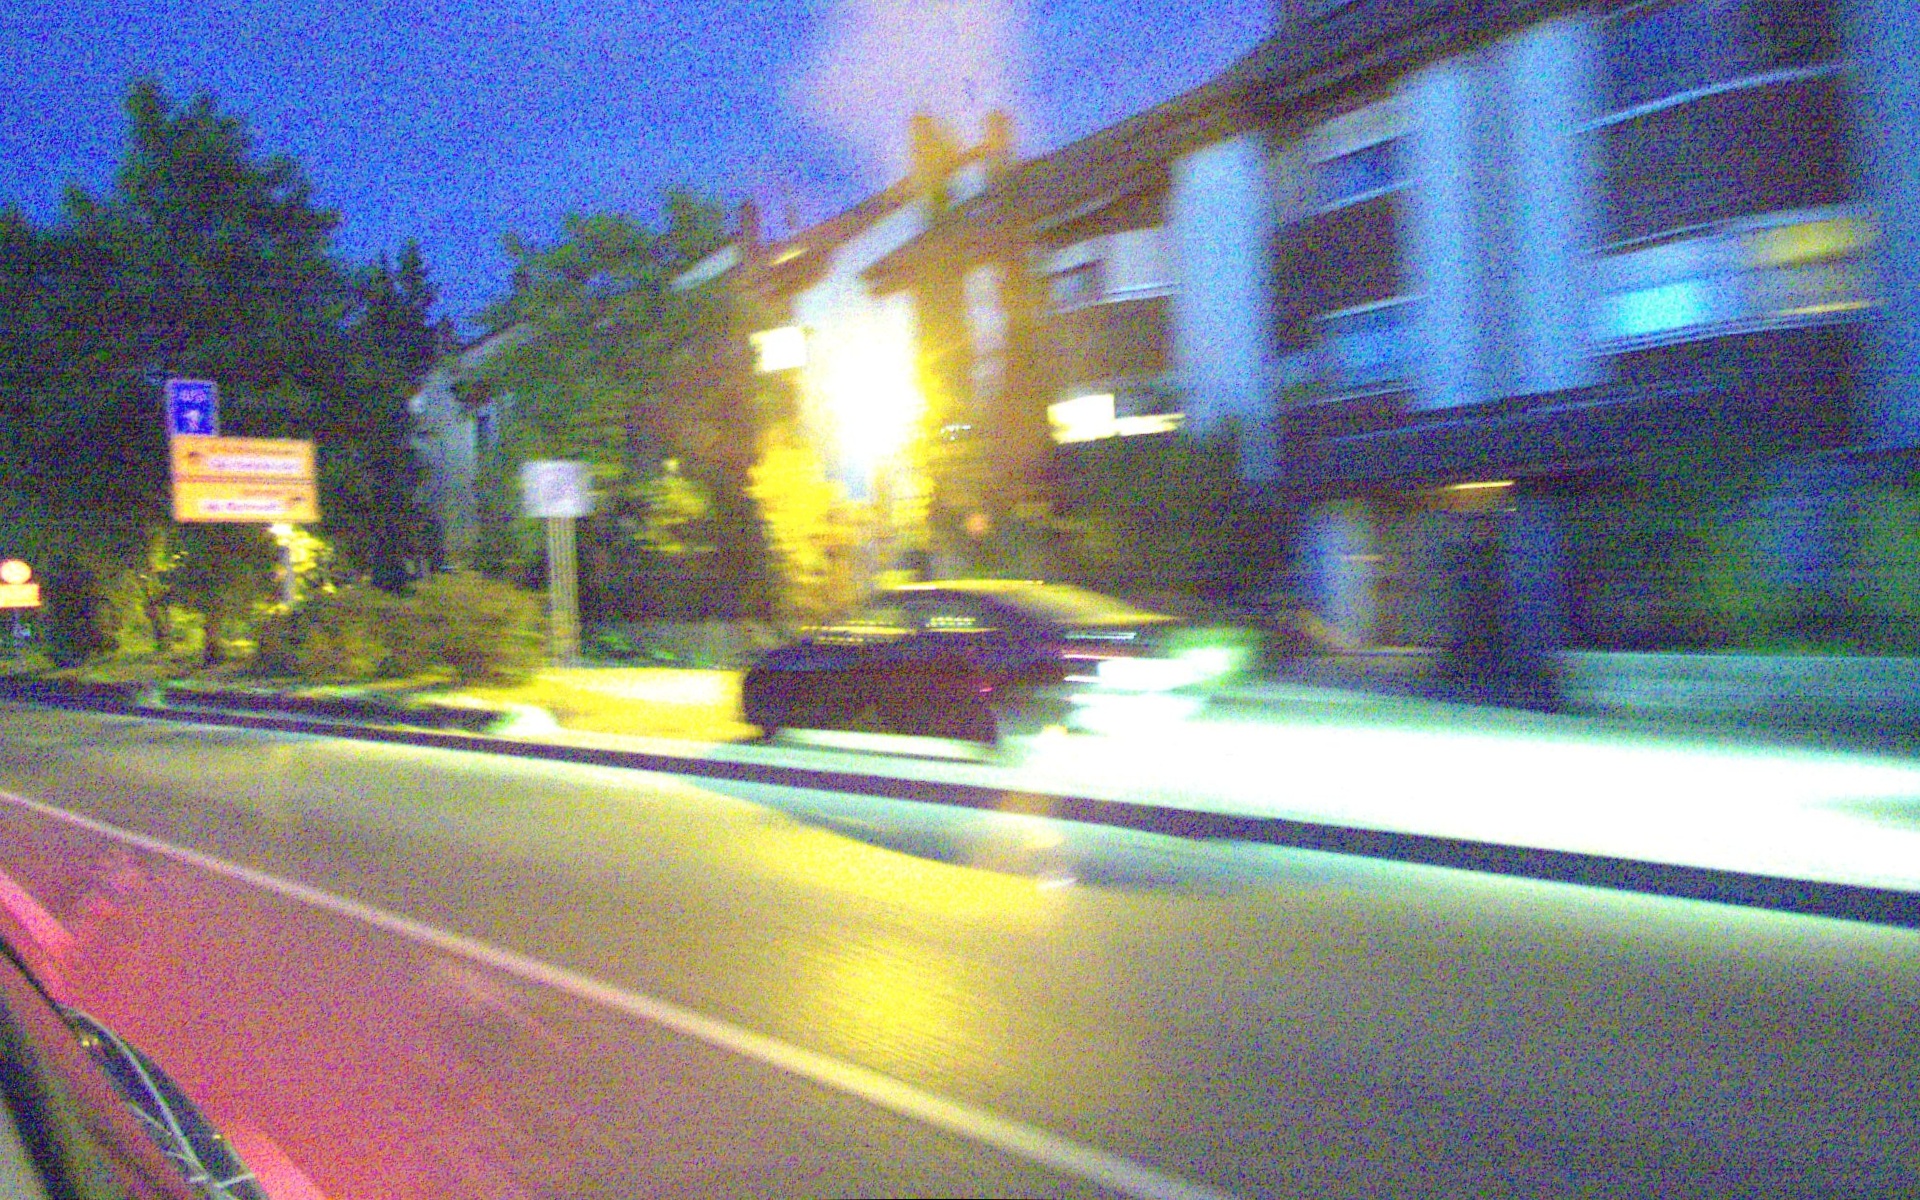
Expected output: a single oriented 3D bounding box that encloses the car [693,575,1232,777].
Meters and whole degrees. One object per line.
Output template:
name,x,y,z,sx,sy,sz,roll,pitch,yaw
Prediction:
car,-0.125,0.558,9.169,4.589,1.390,1.976,-2,1,36
